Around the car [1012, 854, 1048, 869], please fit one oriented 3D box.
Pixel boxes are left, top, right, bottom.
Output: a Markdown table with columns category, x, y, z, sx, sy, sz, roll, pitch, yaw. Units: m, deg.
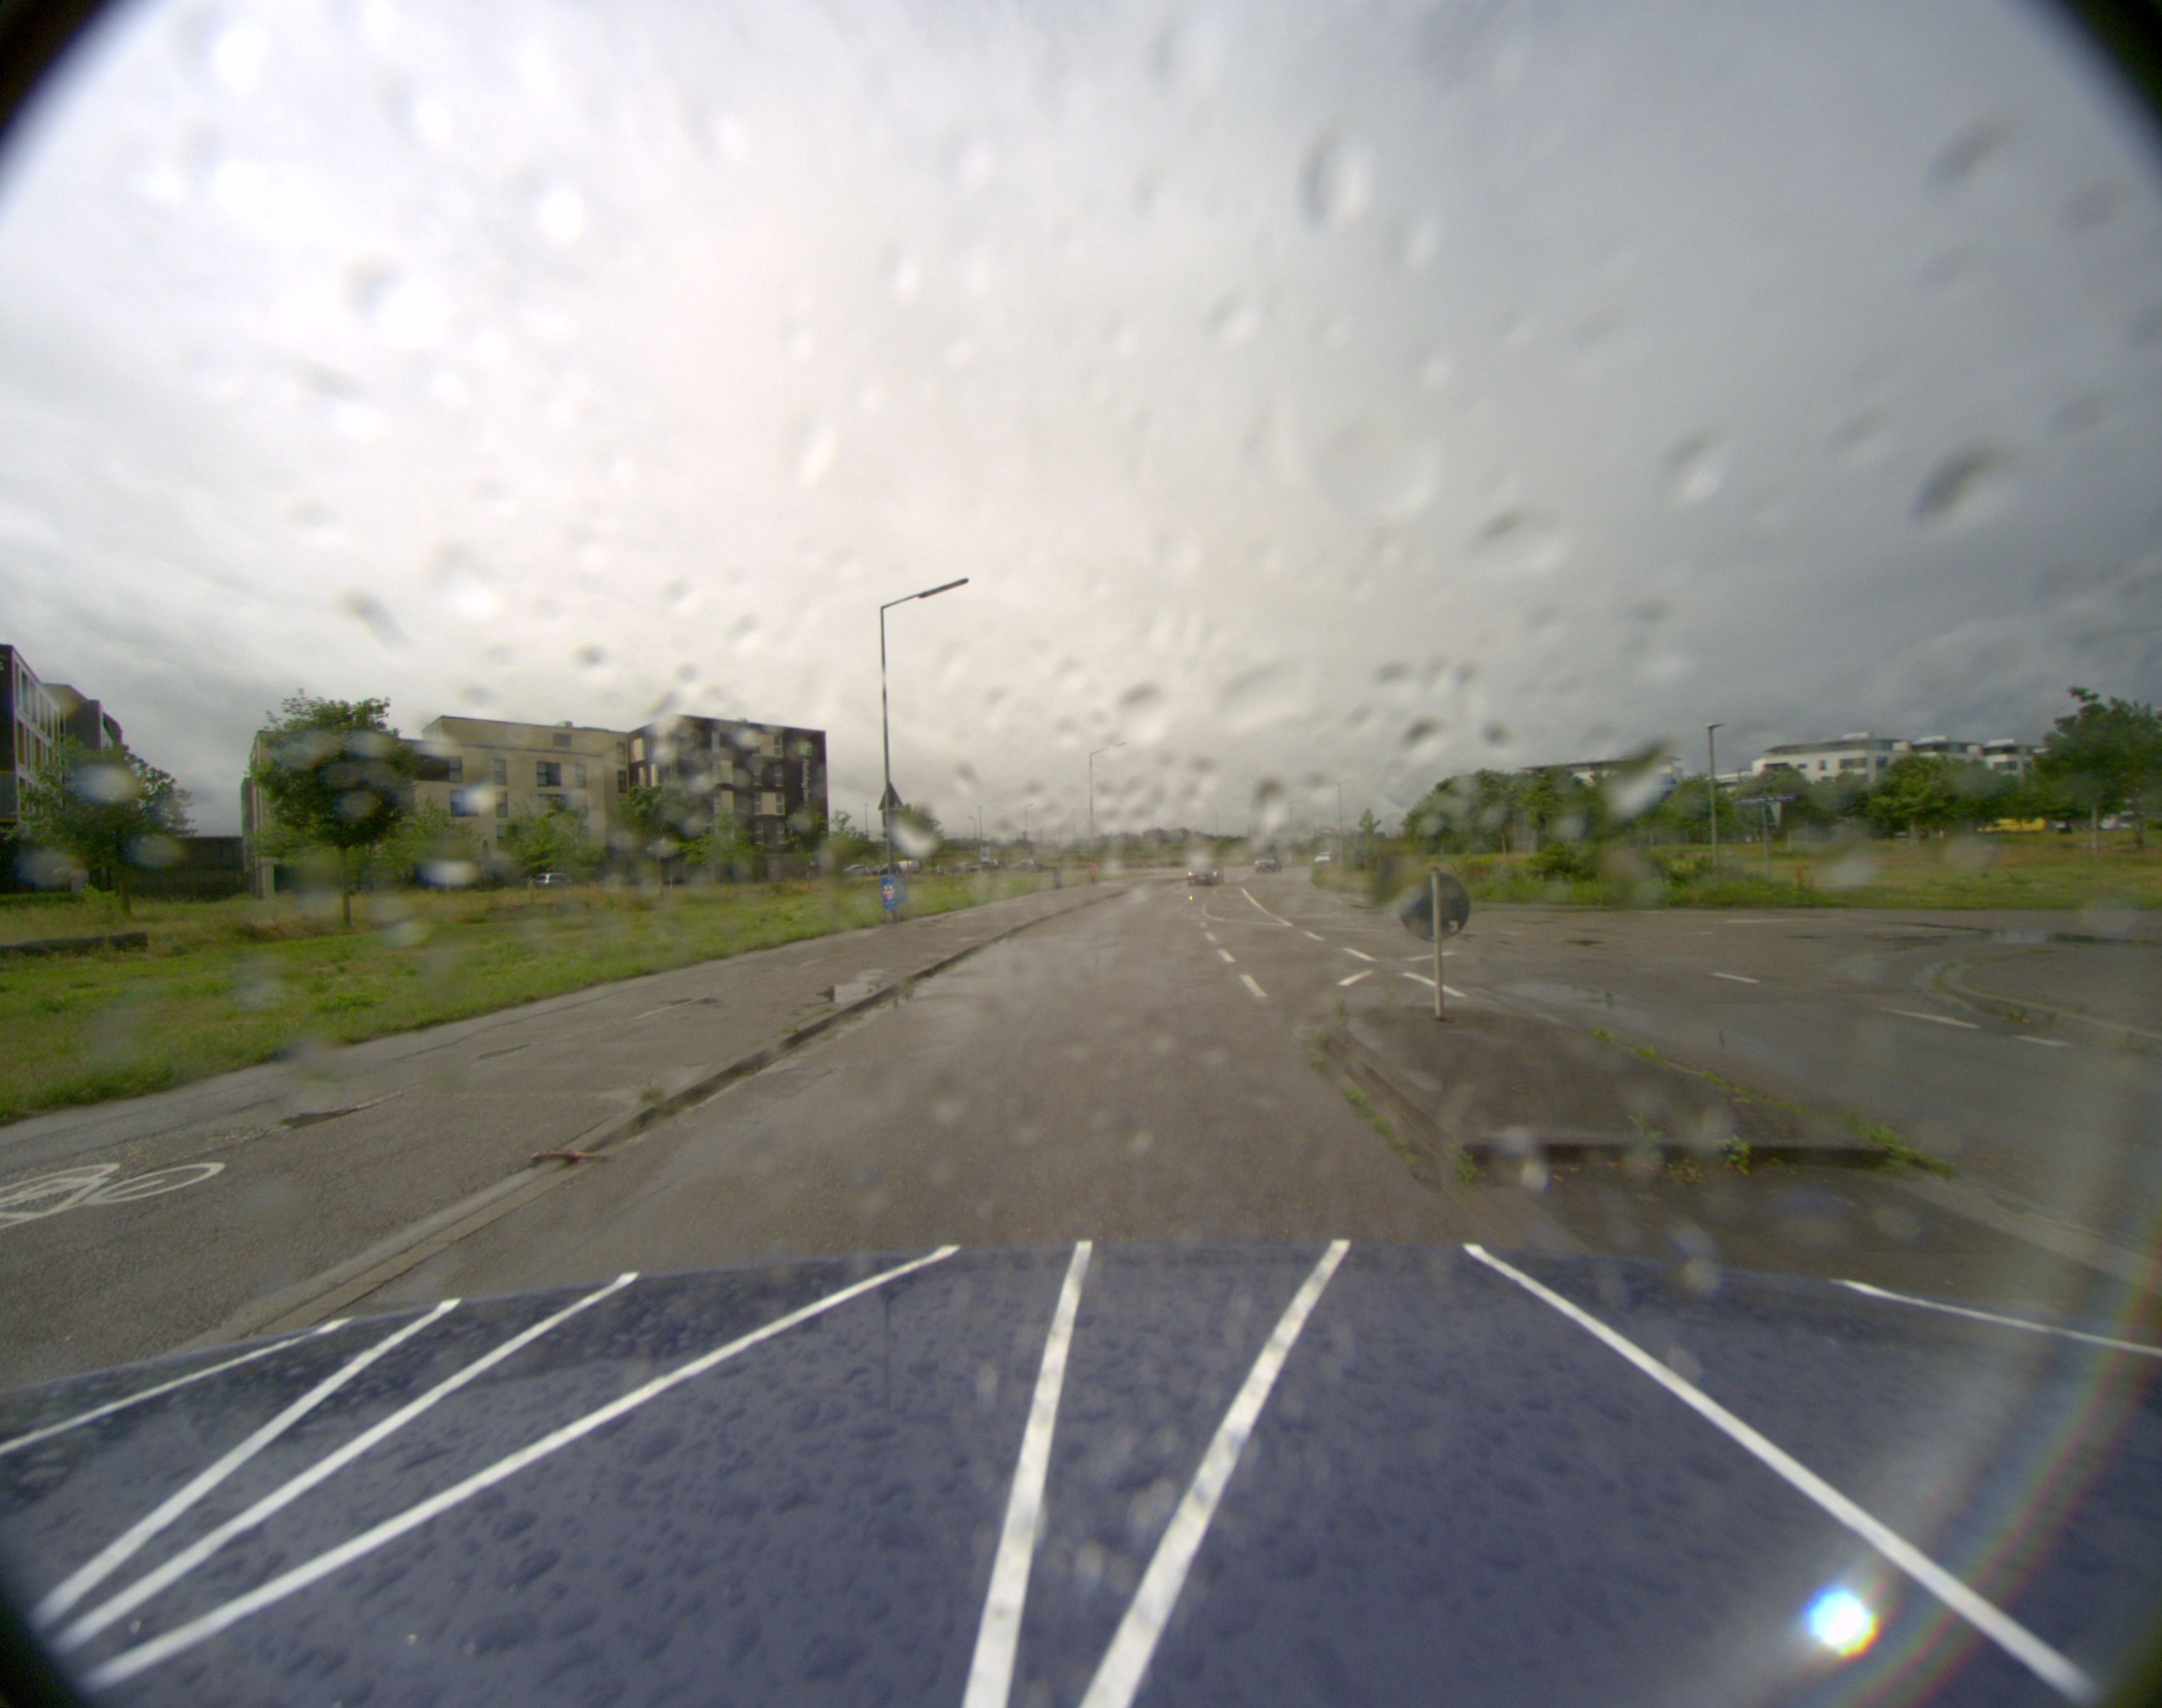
| category | x | y | z | sx | sy | sz | roll | pitch | yaw |
| --- | --- | --- | --- | --- | --- | --- | --- | --- | --- |
| car | -6.188 | 0.973 | 92.514 | 3.989 | 1.609 | 2.003 | -2 | 3 | 37 |

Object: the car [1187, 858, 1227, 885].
| category | x | y | z | sx | sy | sz | roll | pitch | yaw |
| --- | --- | --- | --- | --- | --- | --- | --- | --- | --- |
| car | 7.550 | 0.991 | 45.223 | 1.871 | 1.510 | 4.363 | -1 | 0 | 16 |

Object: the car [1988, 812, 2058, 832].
| category | x | y | z | sx | sy | sz | roll | pitch | yaw |
| --- | --- | --- | --- | --- | --- | --- | --- | --- | --- |
| car | 148.528 | -5.038 | 119.894 | 6.624 | 2.598 | 1.970 | -4 | 0 | 34 |

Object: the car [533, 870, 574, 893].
| category | x | y | z | sx | sy | sz | roll | pitch | yaw |
| --- | --- | --- | --- | --- | --- | --- | --- | --- | --- |
| car | -38.422 | 1.965 | 55.290 | 4.207 | 1.548 | 1.670 | 0 | 1 | 44 |

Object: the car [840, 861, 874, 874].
| category | x | y | z | sx | sy | sz | roll | pitch | yaw |
| --- | --- | --- | --- | --- | --- | --- | --- | --- | --- |
| car | -28.954 | 1.697 | 98.128 | 1.764 | 1.386 | 3.815 | -6 | -3 | 40 |

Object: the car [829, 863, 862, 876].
| category | x | y | z | sx | sy | sz | roll | pitch | yaw |
| --- | --- | --- | --- | --- | --- | --- | --- | --- | --- |
| car | -30.850 | 2.056 | 99.639 | 1.639 | 1.388 | 3.788 | -4 | -1 | 41 |

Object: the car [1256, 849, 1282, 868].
| category | x | y | z | sx | sy | sz | roll | pitch | yaw |
| --- | --- | --- | --- | --- | --- | --- | --- | --- | --- |
| car | 18.408 | 0.444 | 74.379 | 2.007 | 1.695 | 4.335 | -2 | 0 | 19 |

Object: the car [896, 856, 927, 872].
| category | x | y | z | sx | sy | sz | roll | pitch | yaw |
| --- | --- | --- | --- | --- | --- | --- | --- | --- | --- |
| car | -24.014 | 1.406 | 107.641 | 4.328 | 1.760 | 2.004 | -9 | -4 | 42 |

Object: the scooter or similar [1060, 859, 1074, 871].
| category | x | y | z | sx | sy | sz | roll | pitch | yaw |
| --- | --- | --- | --- | --- | --- | --- | --- | --- | --- |
| scooter or similar | -1.419 | 1.105 | 76.023 | 1.282 | 1.180 | 0.504 | 0 | -1 | 11 |

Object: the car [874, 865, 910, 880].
| category | x | y | z | sx | sy | sz | roll | pitch | yaw |
| --- | --- | --- | --- | --- | --- | --- | --- | --- | --- |
| car | -23.153 | 2.274 | 93.231 | 1.781 | 1.518 | 3.850 | -6 | -3 | 40 |

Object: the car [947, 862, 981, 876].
| category | x | y | z | sx | sy | sz | roll | pitch | yaw |
| --- | --- | --- | --- | --- | --- | --- | --- | --- | --- |
| car | -15.364 | 1.974 | 99.774 | 3.990 | 1.631 | 2.004 | -6 | -2 | 37 |

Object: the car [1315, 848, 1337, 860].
| category | x | y | z | sx | sy | sz | roll | pitch | yaw |
| --- | --- | --- | --- | --- | --- | --- | --- | --- | --- |
| car | 31.807 | -0.006 | 98.518 | 1.838 | 1.510 | 4.365 | -2 | 0 | 30 |

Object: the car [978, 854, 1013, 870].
| category | x | y | z | sx | sy | sz | roll | pitch | yaw |
| --- | --- | --- | --- | --- | --- | --- | --- | --- | --- |
| car | -10.805 | 0.992 | 96.243 | 3.990 | 1.717 | 2.004 | -6 | -2 | 37 |
